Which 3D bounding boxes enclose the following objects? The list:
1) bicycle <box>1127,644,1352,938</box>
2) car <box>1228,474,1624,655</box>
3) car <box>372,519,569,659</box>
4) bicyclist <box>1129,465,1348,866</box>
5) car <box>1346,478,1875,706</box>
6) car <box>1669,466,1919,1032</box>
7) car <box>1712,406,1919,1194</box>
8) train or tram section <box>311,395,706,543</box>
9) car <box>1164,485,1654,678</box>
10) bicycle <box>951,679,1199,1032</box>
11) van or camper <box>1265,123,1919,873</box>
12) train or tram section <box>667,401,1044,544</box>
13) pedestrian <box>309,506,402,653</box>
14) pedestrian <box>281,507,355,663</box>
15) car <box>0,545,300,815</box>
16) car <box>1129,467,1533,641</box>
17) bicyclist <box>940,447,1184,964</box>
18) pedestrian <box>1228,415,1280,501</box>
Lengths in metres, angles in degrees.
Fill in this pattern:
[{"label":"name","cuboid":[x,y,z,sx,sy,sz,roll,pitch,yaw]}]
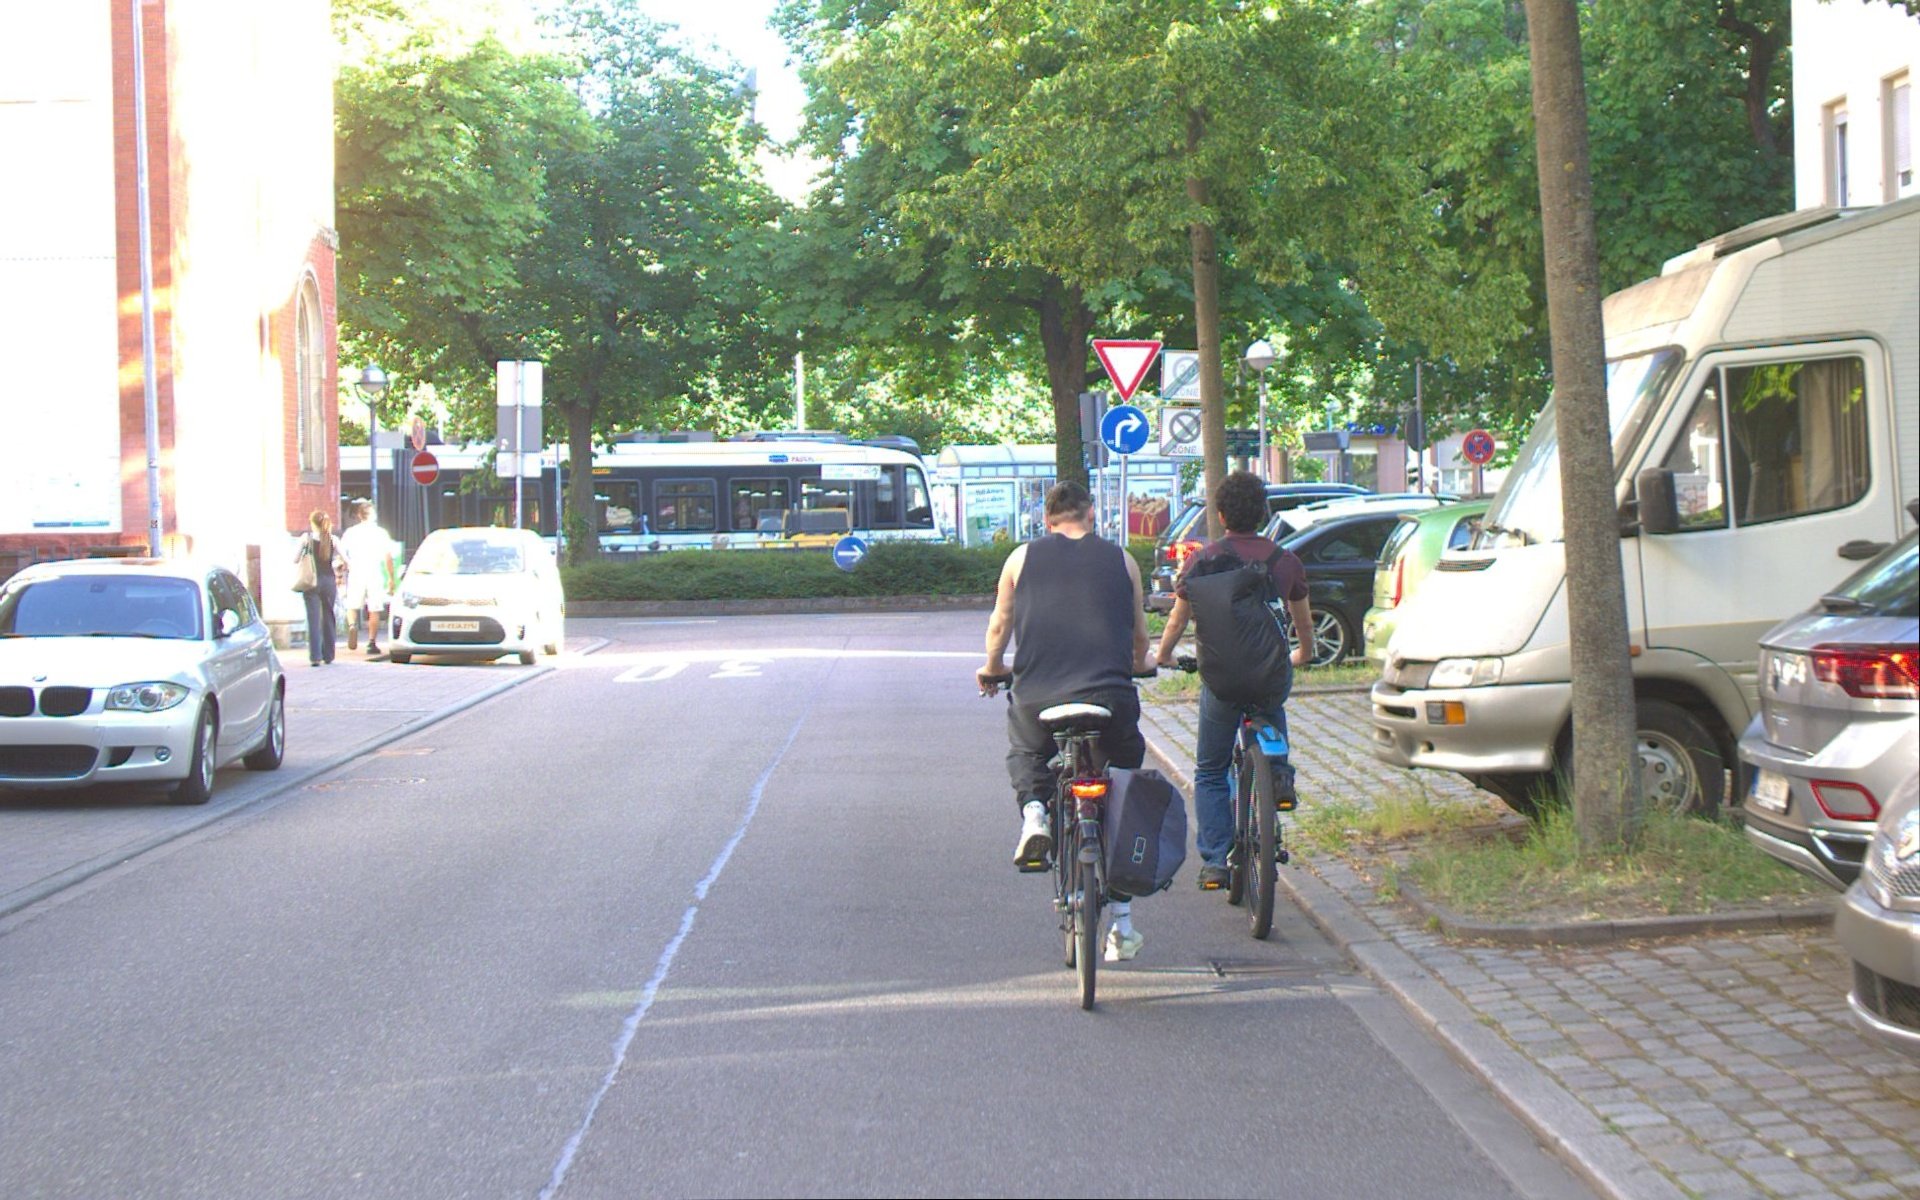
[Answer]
[{"label":"bicycle","cuboid":[1.089,0.721,13.788,0.674,1.050,2.061,-1,0,-1]},{"label":"car","cuboid":[4.529,-0.359,33.824,3.693,1.645,1.704,-1,1,3]},{"label":"car","cuboid":[-5.474,-0.160,38.823,1.705,1.480,3.797,1,1,0]},{"label":"bicyclist","cuboid":[1.089,0.244,13.644,0.671,1.509,1.069,-2,0,-4]},{"label":"car","cuboid":[4.823,-0.087,25.812,3.589,1.500,1.678,-3,2,-1]},{"label":"car","cuboid":[4.415,0.282,10.690,3.963,1.593,1.903,-4,1,2]},{"label":"car","cuboid":[4.016,0.307,8.288,3.914,1.738,1.729,-4,1,0]},{"label":"train or tram section","cuboid":[-10.231,-2.926,77.997,8.415,3.166,2.862,0,1,-23]},{"label":"car","cuboid":[3.995,-0.188,31.063,4.104,1.407,1.792,-4,1,0]},{"label":"bicycle","cuboid":[0.354,0.817,11.708,0.737,1.008,2.061,1,1,-1]},{"label":"van or camper","cuboid":[5.122,-0.524,15.693,7.075,3.067,2.465,-2,1,-3]},{"label":"train or tram section","cuboid":[-2.454,-2.970,81.272,8.415,3.190,2.862,0,1,-23]},{"label":"pedestrian","cuboid":[-6.846,-0.240,38.972,0.867,1.637,0.860,-1,1,-1]},{"label":"pedestrian","cuboid":[-6.753,-0.163,36.145,0.599,1.599,0.855,-2,1,-19]},{"label":"car","cuboid":[-5.264,0.418,21.227,1.744,1.461,4.104,-1,1,-3]},{"label":"car","cuboid":[4.097,-0.542,38.355,4.105,1.707,2.025,-3,2,-5]},{"label":"bicyclist","cuboid":[0.332,0.334,11.725,0.752,1.676,0.913,-2,1,-1]},{"label":"pedestrian","cuboid":[5.821,-2.807,68.079,0.916,1.678,0.780,-1,1,10]}]
